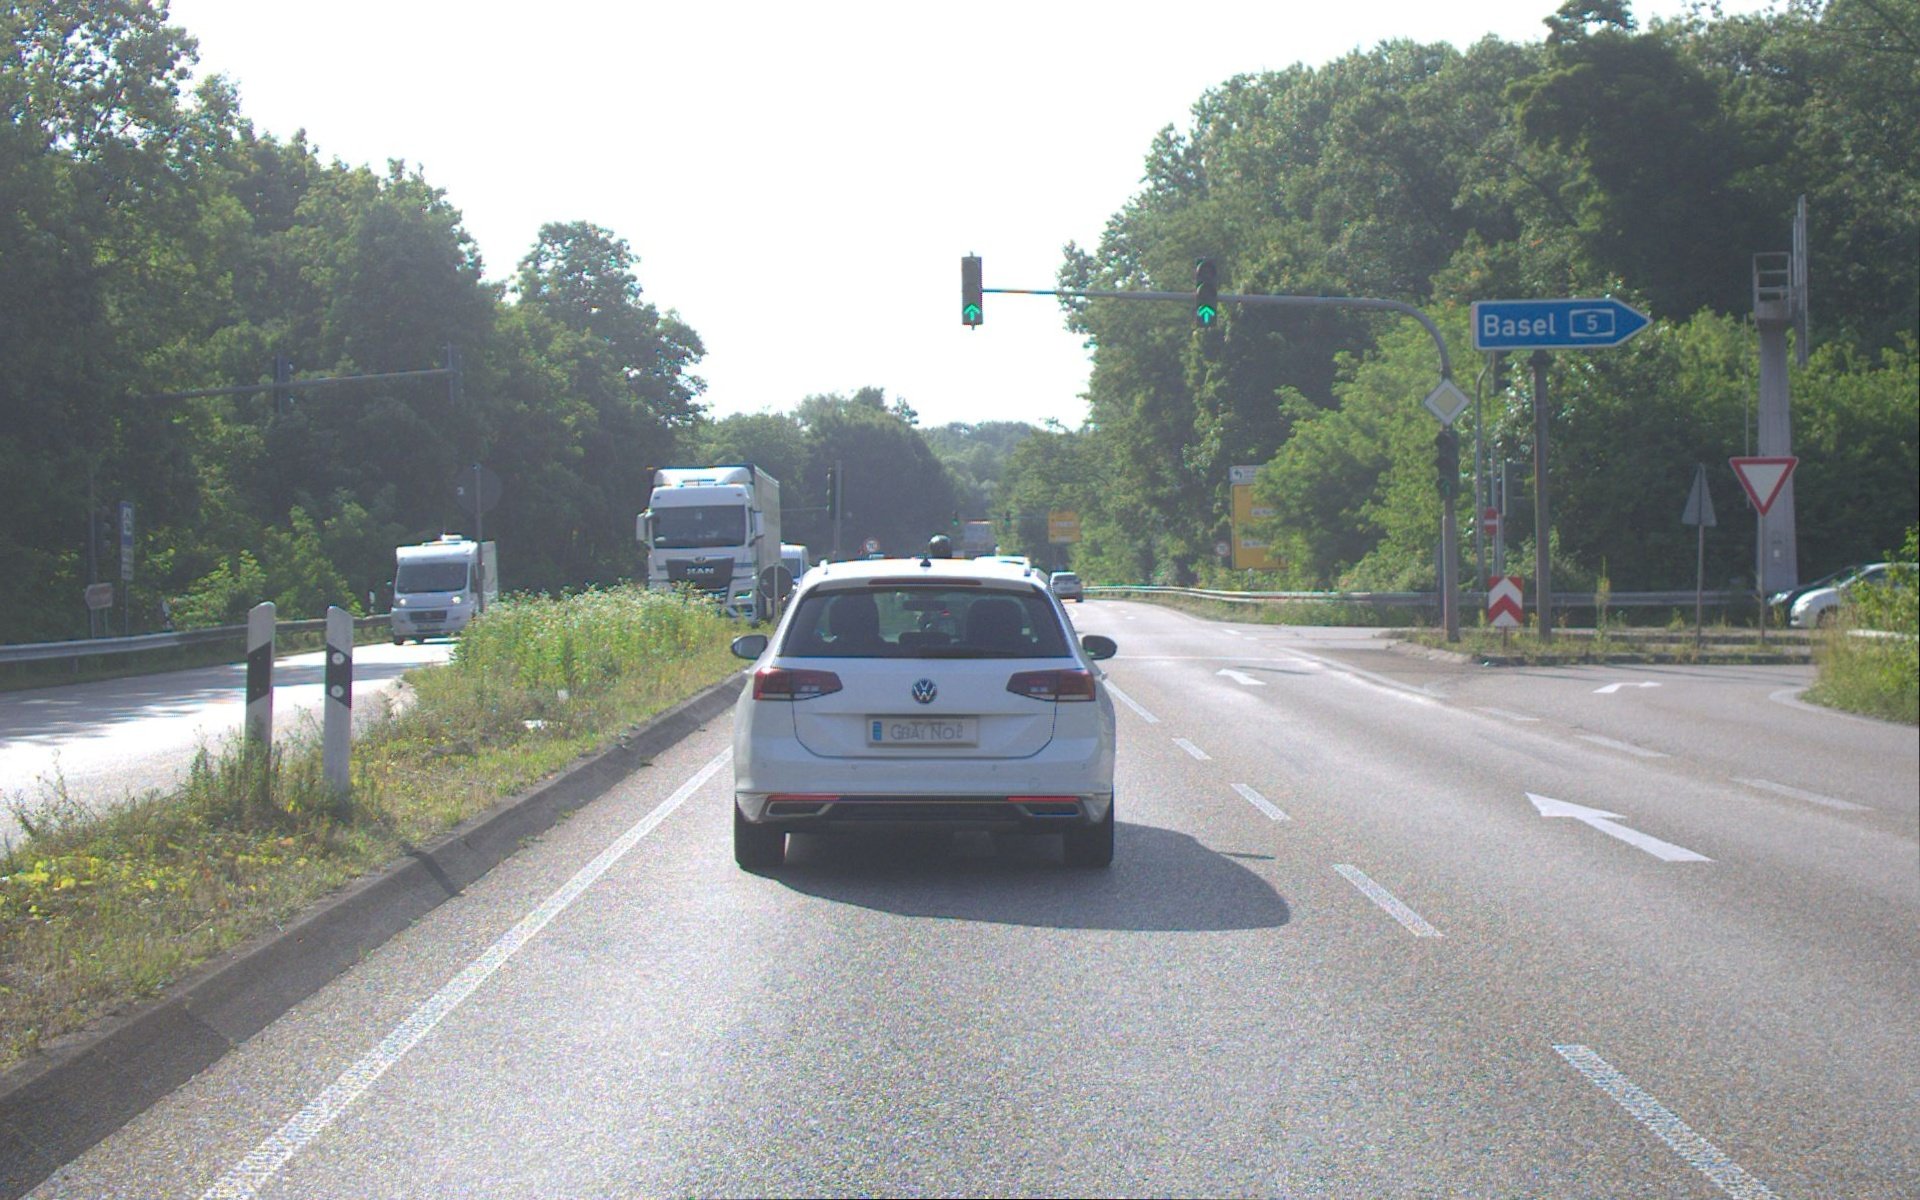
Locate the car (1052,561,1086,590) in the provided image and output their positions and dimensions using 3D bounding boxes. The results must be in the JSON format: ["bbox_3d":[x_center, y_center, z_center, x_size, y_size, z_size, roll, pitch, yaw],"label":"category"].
[{"bbox_3d":[5.845,-1.324,184.868,1.761,1.375,3.972,-2,2,1],"label":"car"}]

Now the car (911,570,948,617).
[{"bbox_3d":[-1.915,-0.433,218.313,2.210,2.879,7.011,-2,1,0],"label":"car"}]

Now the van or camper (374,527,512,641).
[{"bbox_3d":[-13.306,-0.444,88.969,2.413,2.701,6.437,-3,1,0],"label":"van or camper"}]

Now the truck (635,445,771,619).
[{"bbox_3d":[-6.124,-1.615,82.774,2.890,3.984,6.722,1,1,-1],"label":"truck"}]

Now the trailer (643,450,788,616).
[{"bbox_3d":[-6.285,-1.711,90.411,2.991,3.982,14.015,1,1,-1],"label":"trailer"}]

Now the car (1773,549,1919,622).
[{"bbox_3d":[18.929,-0.309,71.725,3.598,1.498,1.808,0,1,5],"label":"car"}]

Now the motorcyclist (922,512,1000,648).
[{"bbox_3d":[0.019,-0.247,41.584,0.884,1.610,1.290,1,1,2],"label":"motorcyclist"}]

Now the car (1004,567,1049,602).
[{"bbox_3d":[2.698,-0.631,139.359,1.761,1.375,3.971,0,1,1],"label":"car"}]

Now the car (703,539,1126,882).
[{"bbox_3d":[-0.167,0.458,17.619,1.870,1.516,4.834,0,1,1],"label":"car"}]

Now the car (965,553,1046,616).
[{"bbox_3d":[1.039,-0.360,77.510,1.761,1.375,3.971,0,1,1],"label":"car"}]

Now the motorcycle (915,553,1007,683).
[{"bbox_3d":[0.026,0.190,41.491,0.909,1.448,2.689,-4,1,2],"label":"motorcycle"}]
